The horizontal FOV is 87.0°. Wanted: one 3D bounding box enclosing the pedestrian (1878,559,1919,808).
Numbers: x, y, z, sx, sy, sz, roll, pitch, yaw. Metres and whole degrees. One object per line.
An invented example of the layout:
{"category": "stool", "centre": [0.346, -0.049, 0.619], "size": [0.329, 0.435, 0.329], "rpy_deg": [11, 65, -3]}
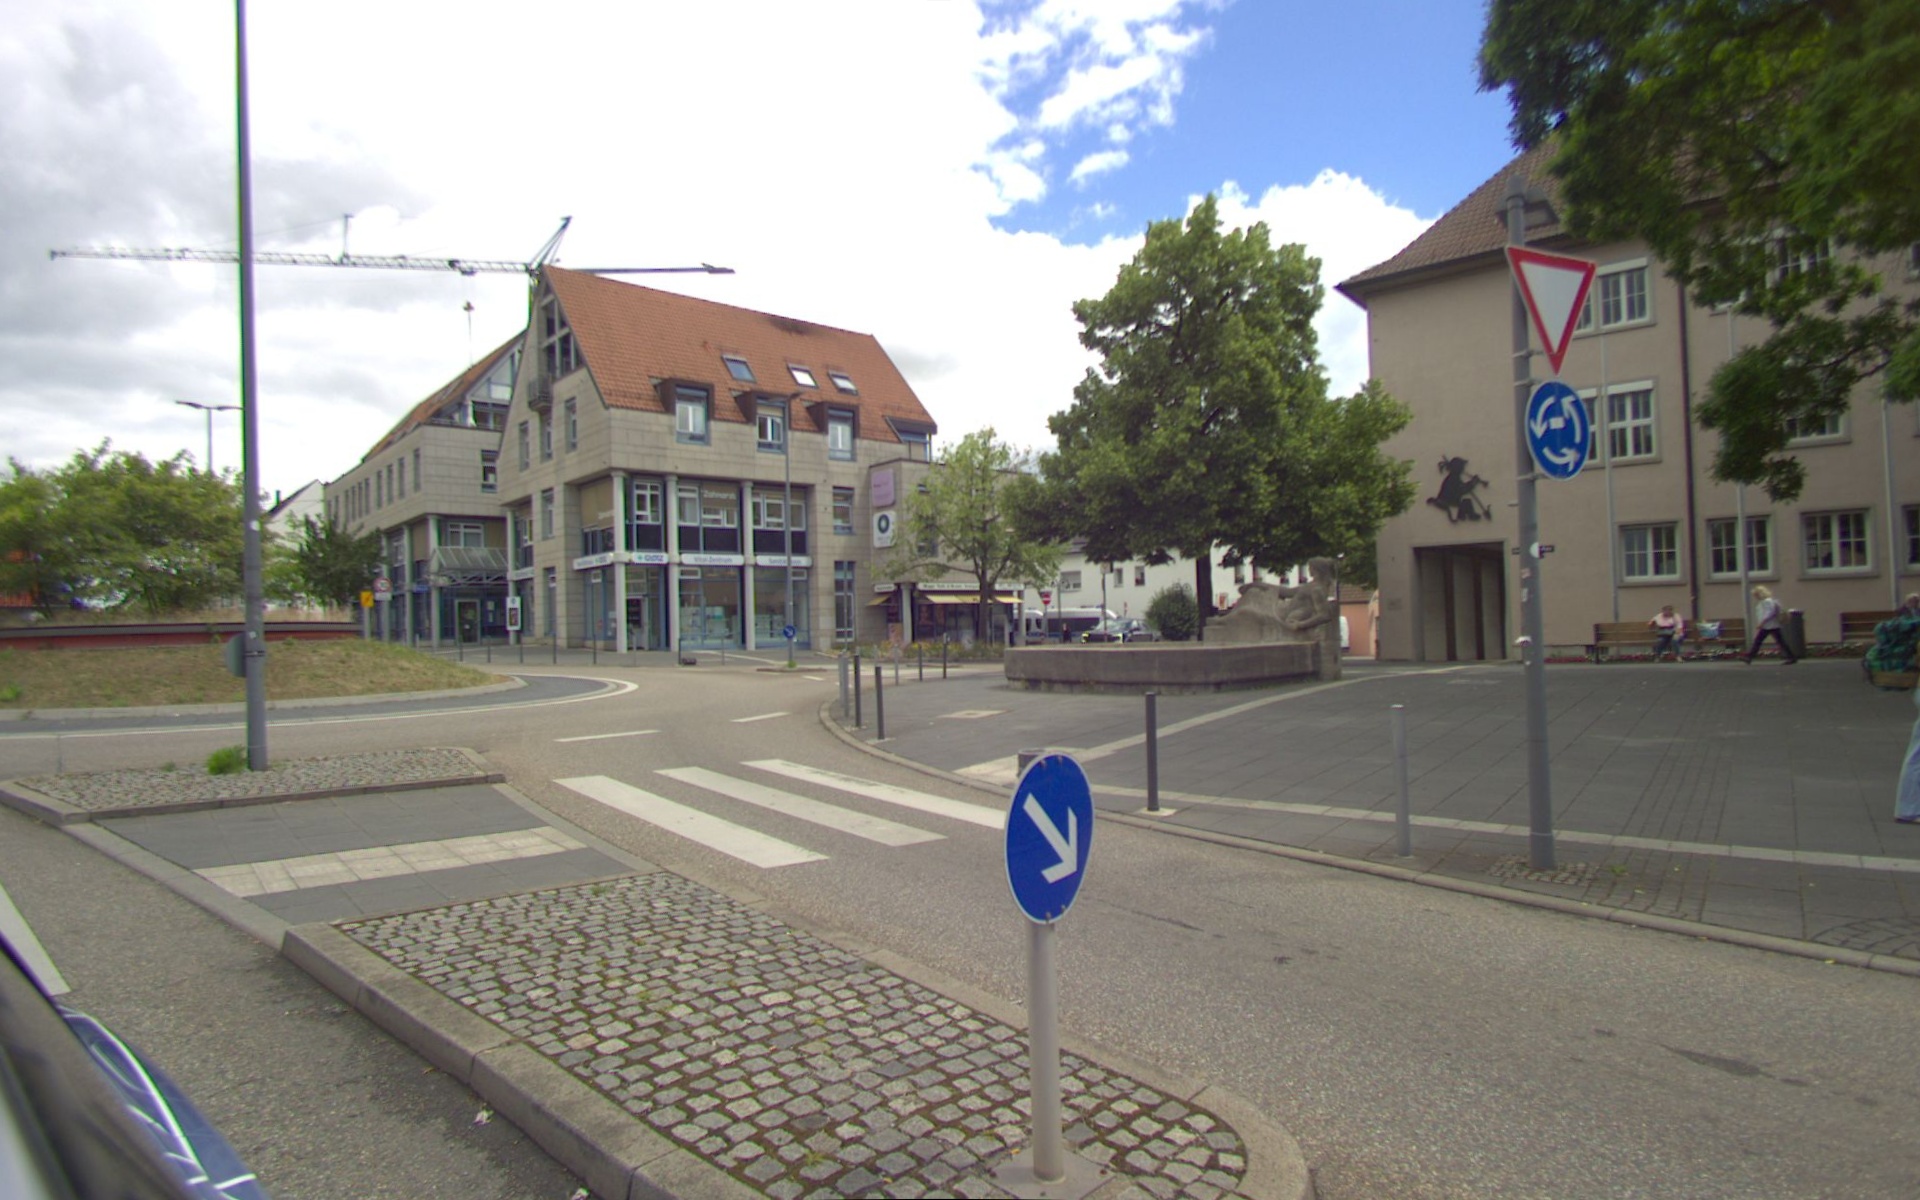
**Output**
{"category": "pedestrian", "centre": [6.238, 0.492, 6.212], "size": [0.788, 1.526, 0.544], "rpy_deg": [-5, -2, 44]}

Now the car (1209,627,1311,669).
{"category": "car", "centre": [11.865, 1.860, 39.946], "size": [3.936, 1.542, 1.987], "rpy_deg": [0, -2, -39]}

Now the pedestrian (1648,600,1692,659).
{"category": "pedestrian", "centre": [15.657, 0.643, 22.317], "size": [0.572, 1.271, 0.701], "rpy_deg": [1, -1, -44]}

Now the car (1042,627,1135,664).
{"category": "car", "centre": [5.143, 1.801, 40.947], "size": [1.661, 1.431, 4.012], "rpy_deg": [0, -1, -29]}

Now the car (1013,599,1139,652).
{"category": "car", "centre": [6.147, 1.347, 53.783], "size": [6.262, 2.579, 2.190], "rpy_deg": [1, -3, 22]}

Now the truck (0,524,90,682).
{"category": "truck", "centre": [-25.701, 0.006, 24.006], "size": [2.918, 4.058, 10.621], "rpy_deg": [1, -2, -12]}

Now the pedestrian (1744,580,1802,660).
{"category": "pedestrian", "centre": [15.727, 0.380, 19.593], "size": [0.813, 1.504, 0.692], "rpy_deg": [-1, -1, 35]}
